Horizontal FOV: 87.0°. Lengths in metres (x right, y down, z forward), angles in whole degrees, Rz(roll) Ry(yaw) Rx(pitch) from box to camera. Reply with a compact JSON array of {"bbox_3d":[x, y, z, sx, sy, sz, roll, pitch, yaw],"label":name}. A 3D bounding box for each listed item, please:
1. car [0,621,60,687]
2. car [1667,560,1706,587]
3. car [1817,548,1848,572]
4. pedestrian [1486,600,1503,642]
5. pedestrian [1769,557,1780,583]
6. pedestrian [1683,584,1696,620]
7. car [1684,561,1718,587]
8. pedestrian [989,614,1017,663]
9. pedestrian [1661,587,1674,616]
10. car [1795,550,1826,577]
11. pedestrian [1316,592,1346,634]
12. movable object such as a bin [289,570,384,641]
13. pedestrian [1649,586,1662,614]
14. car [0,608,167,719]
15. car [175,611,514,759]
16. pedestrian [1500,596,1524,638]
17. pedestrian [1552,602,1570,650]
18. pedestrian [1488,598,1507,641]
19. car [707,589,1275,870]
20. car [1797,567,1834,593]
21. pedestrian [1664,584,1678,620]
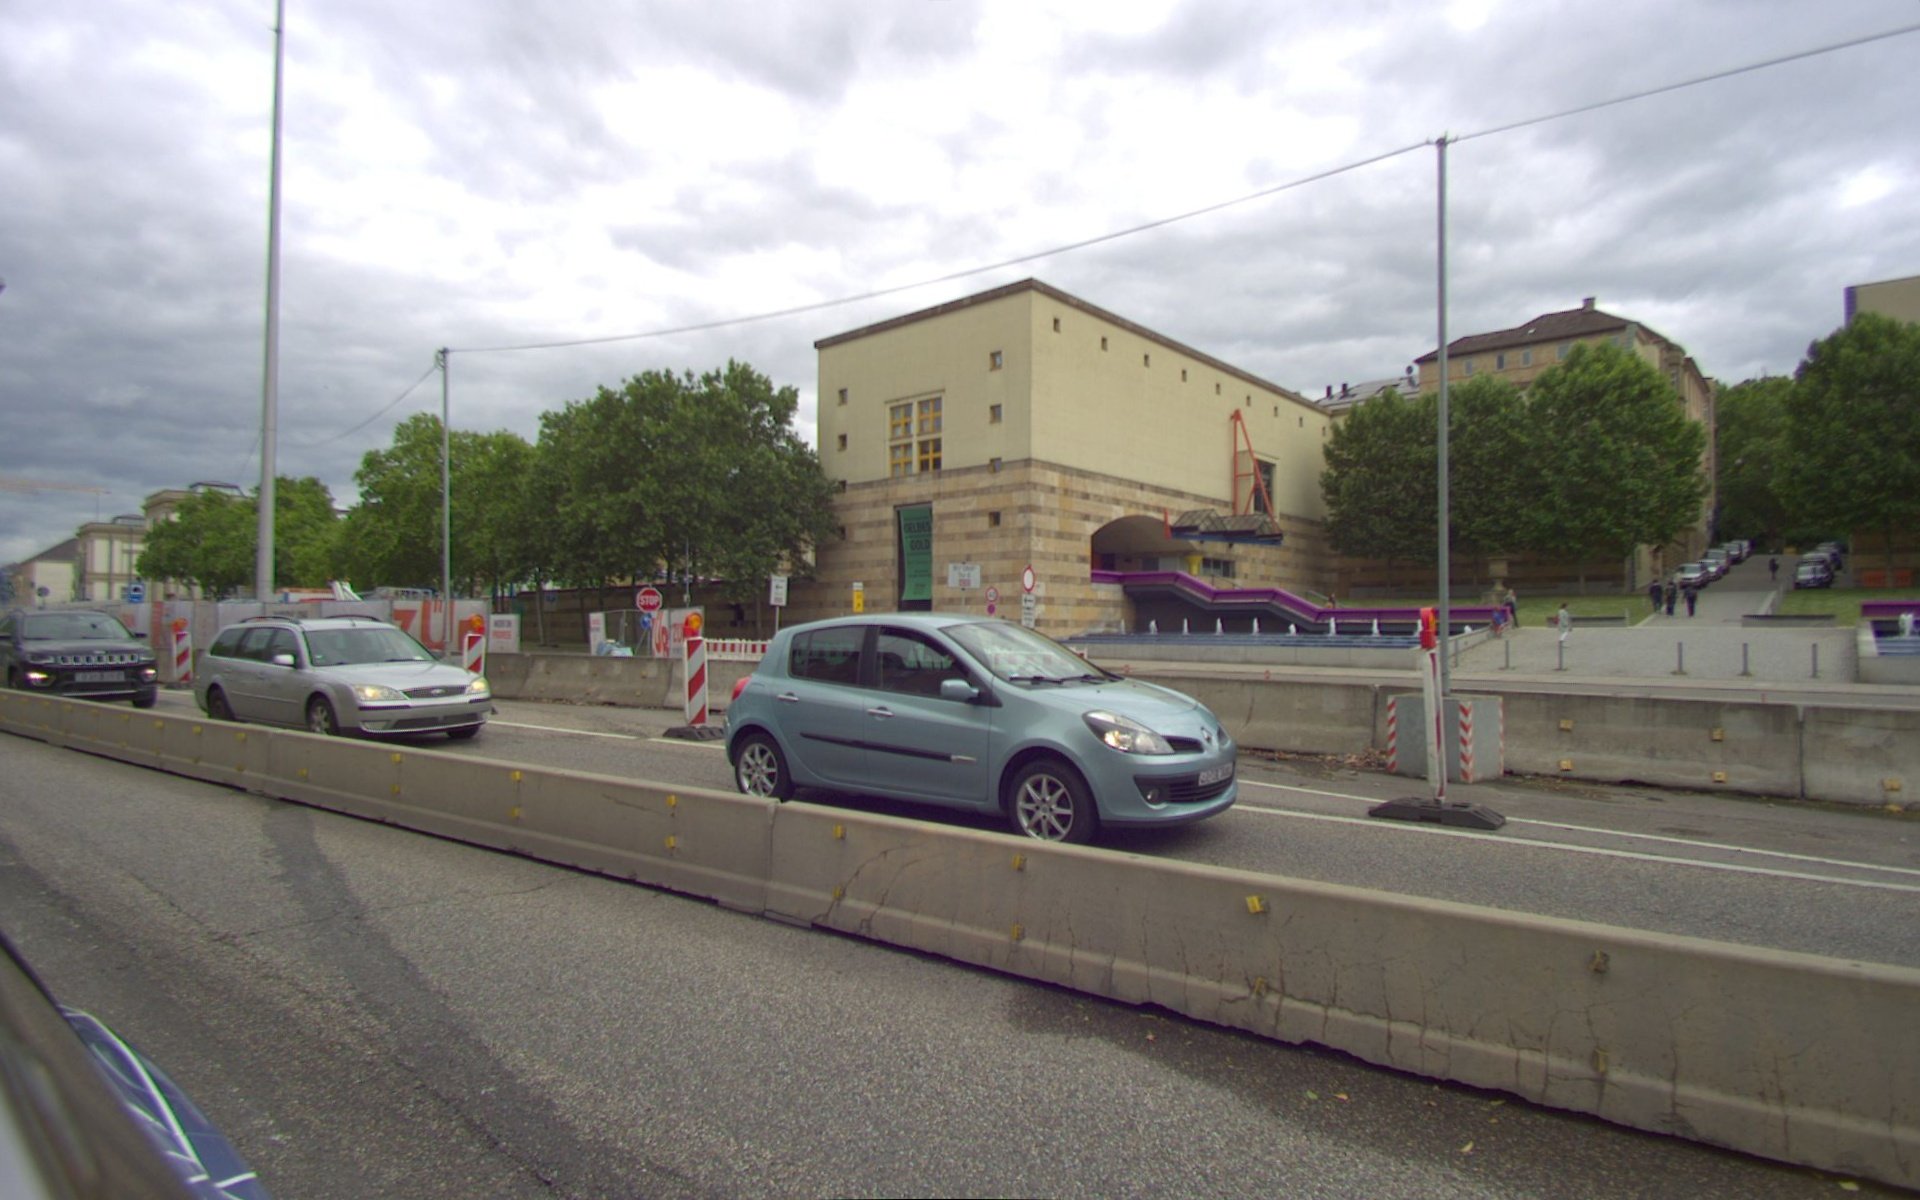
[{"bbox_3d":[-21.004,1.133,21.765,3.928,1.306,1.710,-1,-1,37],"label":"car"},{"bbox_3d":[50.148,-1.806,69.856,1.611,1.811,3.753,-2,-1,44],"label":"car"},{"bbox_3d":[69.562,-3.164,80.676,1.611,1.811,3.753,-1,1,44],"label":"car"},{"bbox_3d":[21.541,0.844,40.759,0.526,1.708,0.338,-1,-1,41],"label":"pedestrian"},{"bbox_3d":[57.123,-2.084,70.989,0.542,1.798,0.460,-1,-1,44],"label":"pedestrian"},{"bbox_3d":[35.602,0.092,49.391,0.477,1.762,0.638,-1,-1,40],"label":"pedestrian"},{"bbox_3d":[55.476,-1.945,75.714,1.610,1.811,3.754,-2,-1,43],"label":"car"},{"bbox_3d":[1.859,1.642,43.583,0.814,2.029,0.836,-1,0,42],"label":"pedestrian"},{"bbox_3d":[35.366,0.095,50.592,0.477,1.433,0.400,-1,-1,40],"label":"pedestrian"},{"bbox_3d":[59.751,-2.515,71.072,1.609,1.811,3.756,-1,1,41],"label":"car"},{"bbox_3d":[18.398,0.640,50.175,0.907,2.029,1.094,-1,0,-44],"label":"pedestrian"},{"bbox_3d":[-20.223,0.217,32.812,3.287,2.202,1.507,-1,-2,37],"label":"movable object such as a bin"},{"bbox_3d":[35.874,0.018,52.183,0.477,1.433,0.400,-1,-1,40],"label":"pedestrian"},{"bbox_3d":[-14.884,0.954,16.761,4.039,1.633,1.760,-1,-1,37],"label":"car"},{"bbox_3d":[-7.658,0.902,12.430,4.694,1.492,1.862,-1,-1,35],"label":"car"},{"bbox_3d":[25.081,0.782,46.015,0.804,1.867,0.684,-1,0,42],"label":"pedestrian"},{"bbox_3d":[22.020,0.947,37.092,0.524,1.708,0.691,-1,-1,30],"label":"pedestrian"},{"bbox_3d":[21.872,0.785,41.206,0.526,1.708,0.689,-1,-1,41],"label":"pedestrian"},{"bbox_3d":[0.088,0.726,7.290,3.847,1.518,1.657,-1,-1,36],"label":"car"},{"bbox_3d":[51.431,-1.200,60.834,1.609,1.548,3.756,-1,1,41],"label":"car"},{"bbox_3d":[35.044,0.086,49.898,0.477,1.762,0.638,-1,-1,40],"label":"pedestrian"}]
